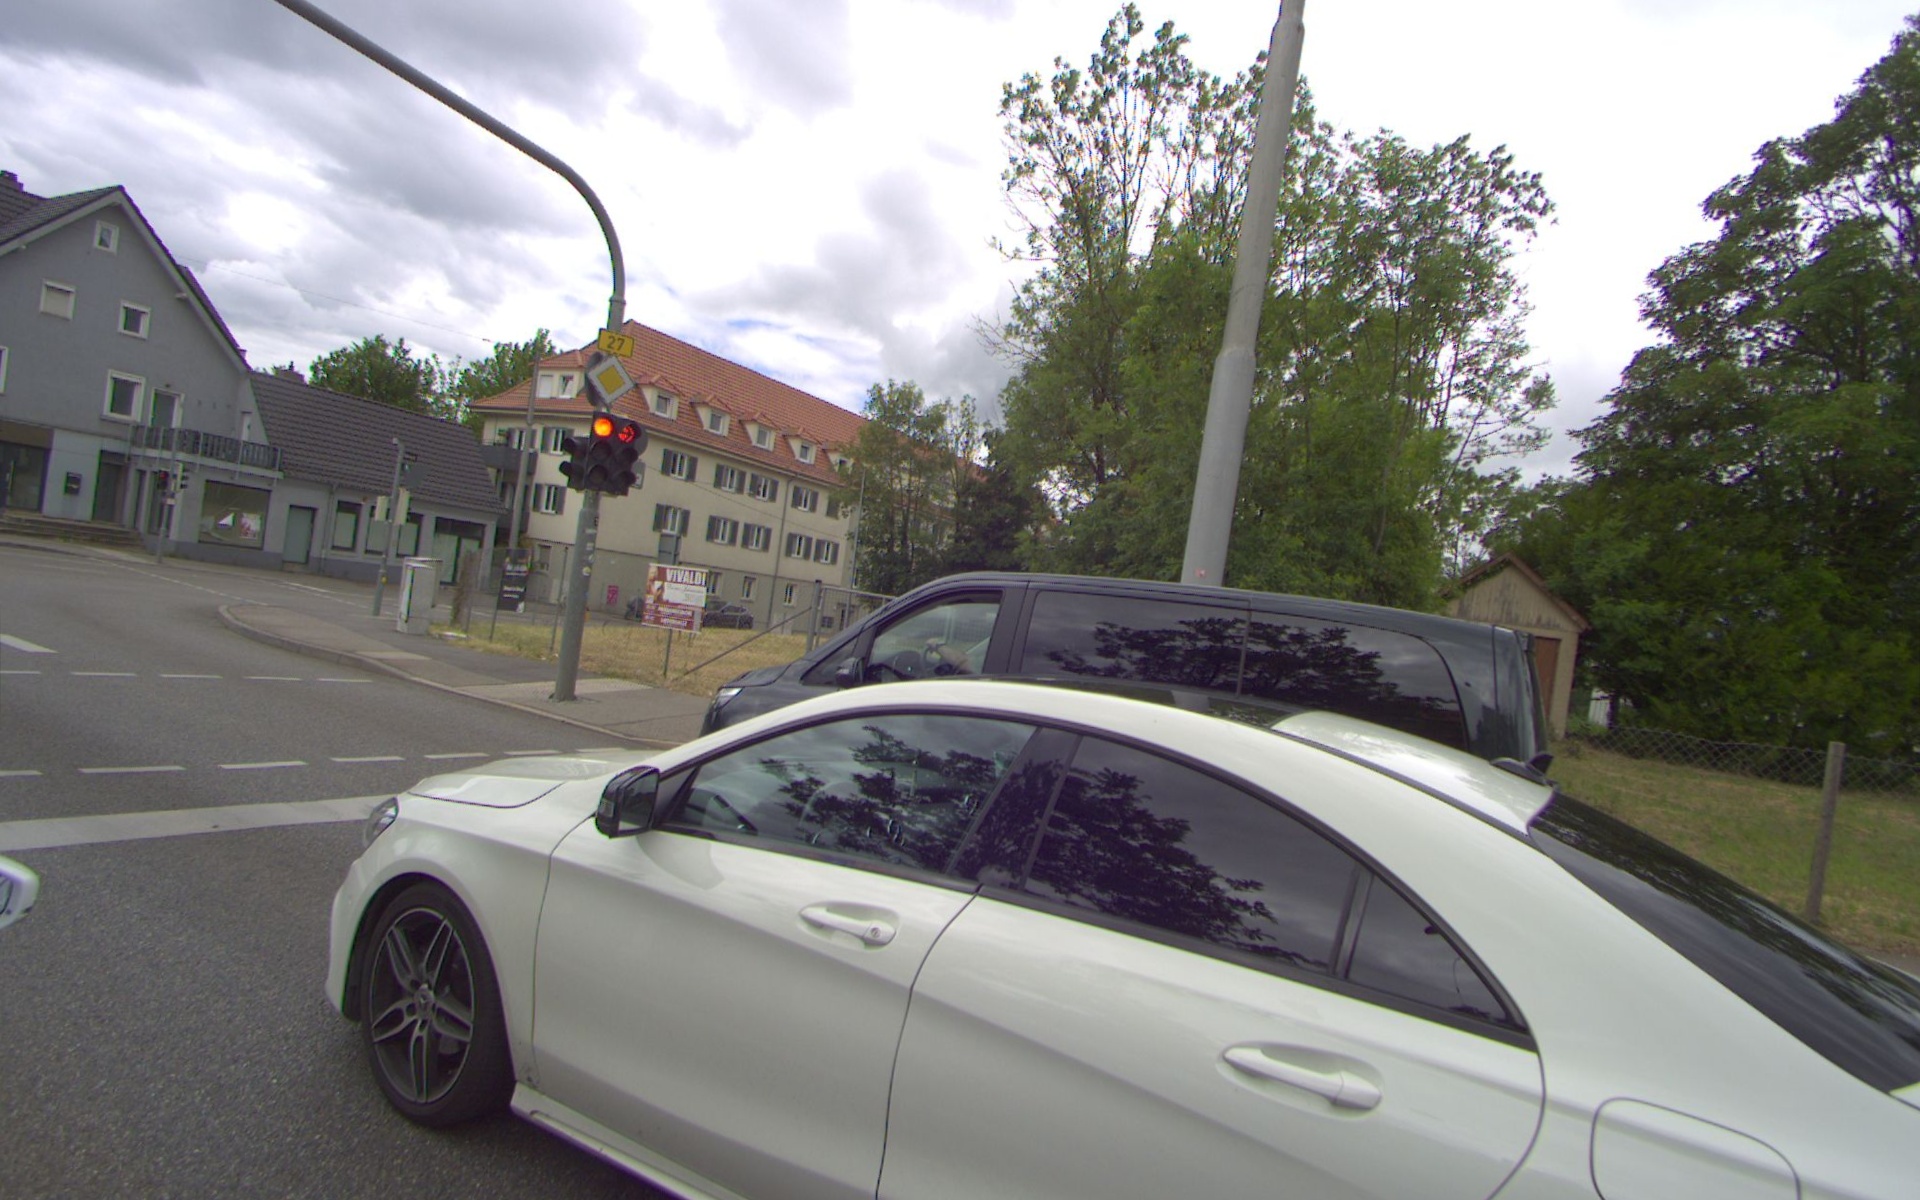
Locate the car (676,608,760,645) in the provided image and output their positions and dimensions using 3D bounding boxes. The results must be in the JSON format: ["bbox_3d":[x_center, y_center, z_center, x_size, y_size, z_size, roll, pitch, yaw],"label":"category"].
[{"bbox_3d":[-12.620,1.402,52.646,1.839,1.393,3.996,7,-2,32],"label":"car"}]

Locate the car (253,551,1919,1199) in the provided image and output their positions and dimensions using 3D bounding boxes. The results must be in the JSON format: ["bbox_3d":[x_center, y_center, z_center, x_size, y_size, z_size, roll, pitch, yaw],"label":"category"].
[{"bbox_3d":[0.158,0.848,2.635,4.305,1.451,1.651,7,0,32],"label":"car"}]

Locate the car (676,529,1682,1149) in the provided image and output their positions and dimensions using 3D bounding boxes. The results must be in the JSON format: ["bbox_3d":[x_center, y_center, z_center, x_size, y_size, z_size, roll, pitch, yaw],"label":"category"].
[{"bbox_3d":[0.910,0.839,5.518,4.631,1.860,1.953,7,-2,32],"label":"car"}]

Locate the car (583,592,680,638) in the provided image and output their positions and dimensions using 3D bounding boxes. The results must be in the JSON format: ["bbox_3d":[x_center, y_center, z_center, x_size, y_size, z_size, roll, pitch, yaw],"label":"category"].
[{"bbox_3d":[-15.515,0.740,47.658,1.839,1.554,3.996,7,-2,32],"label":"car"}]
